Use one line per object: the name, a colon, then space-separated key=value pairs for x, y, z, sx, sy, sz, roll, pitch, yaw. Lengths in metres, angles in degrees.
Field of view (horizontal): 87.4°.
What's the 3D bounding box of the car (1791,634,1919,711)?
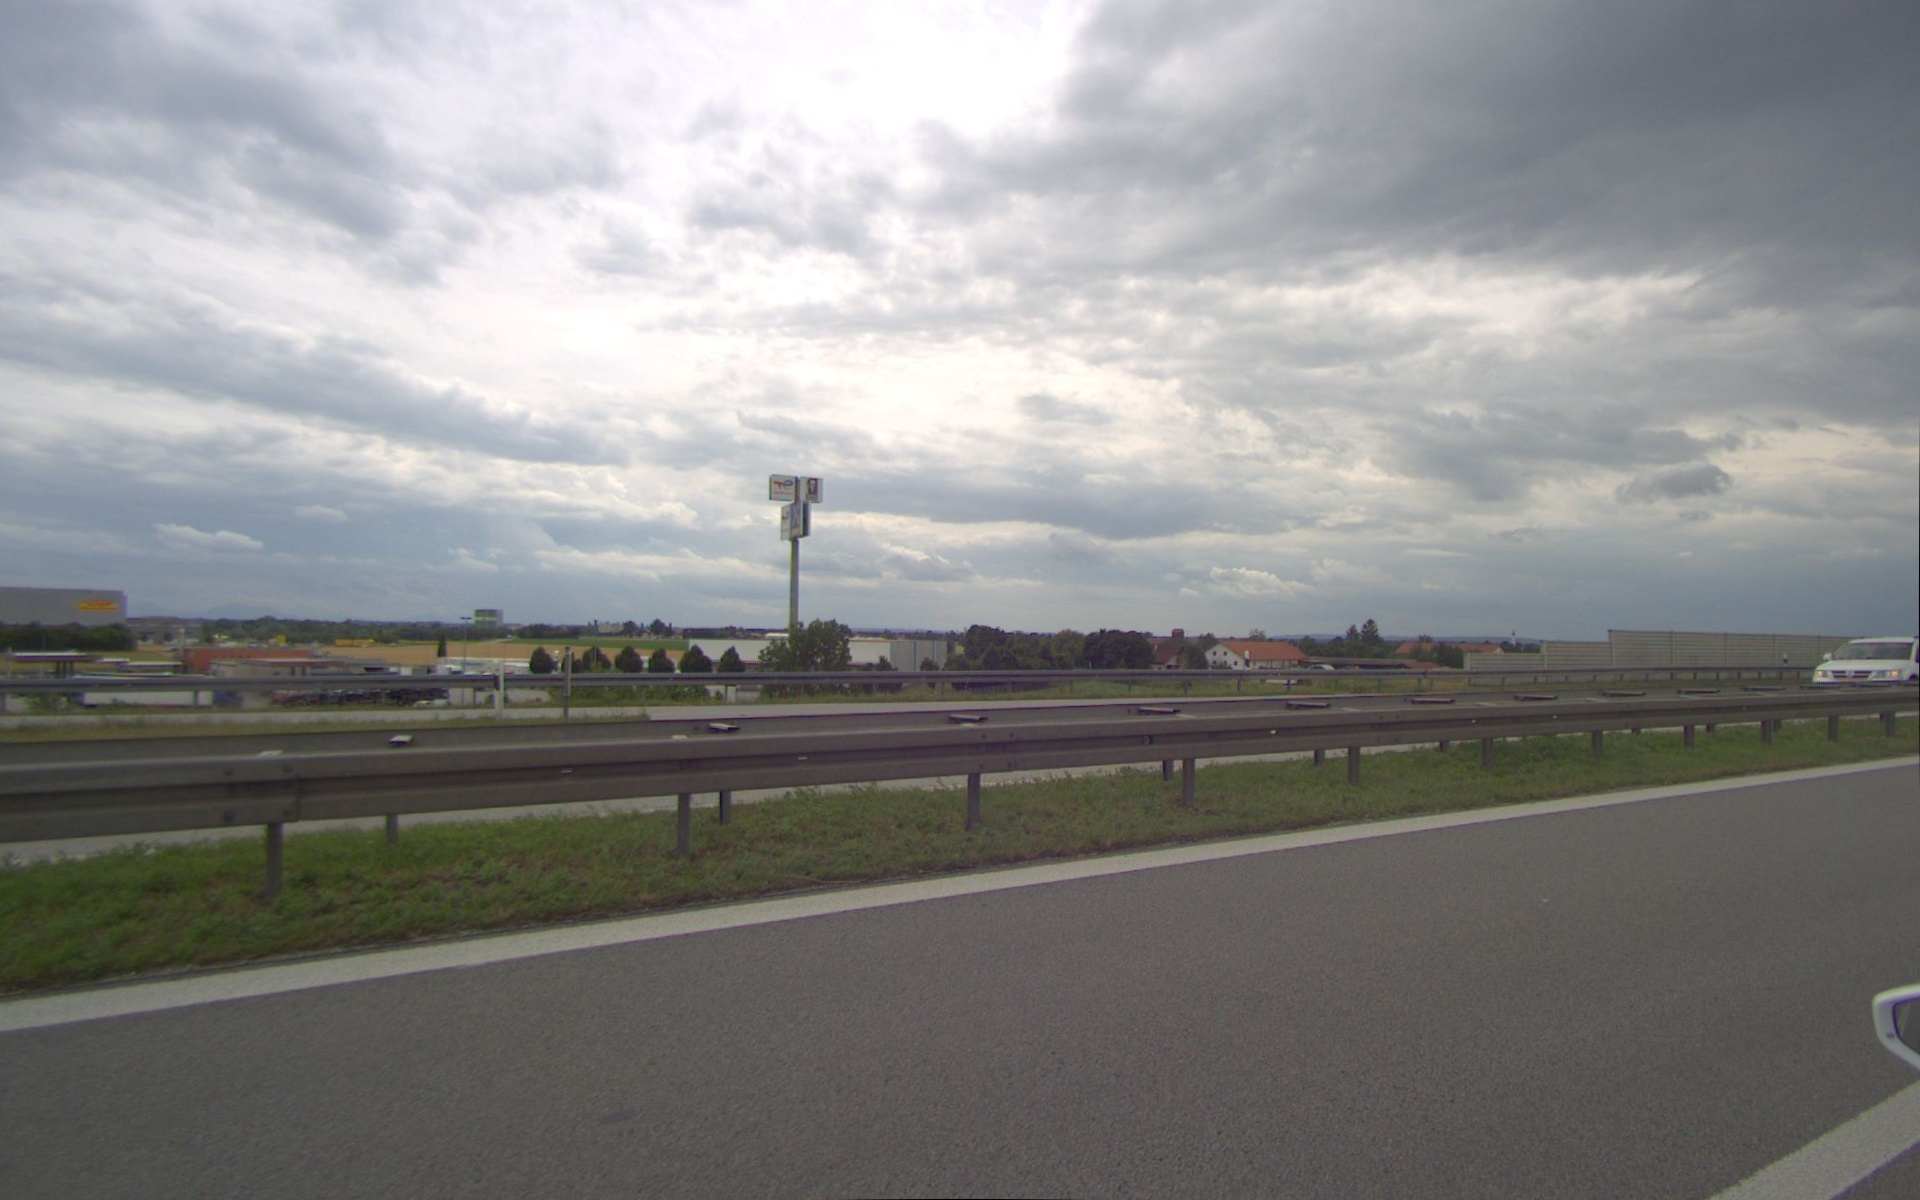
car: x=23.304 y=1.749 z=25.297 sx=4.902 sy=1.769 sz=2.061 roll=1 pitch=-3 yaw=-30
